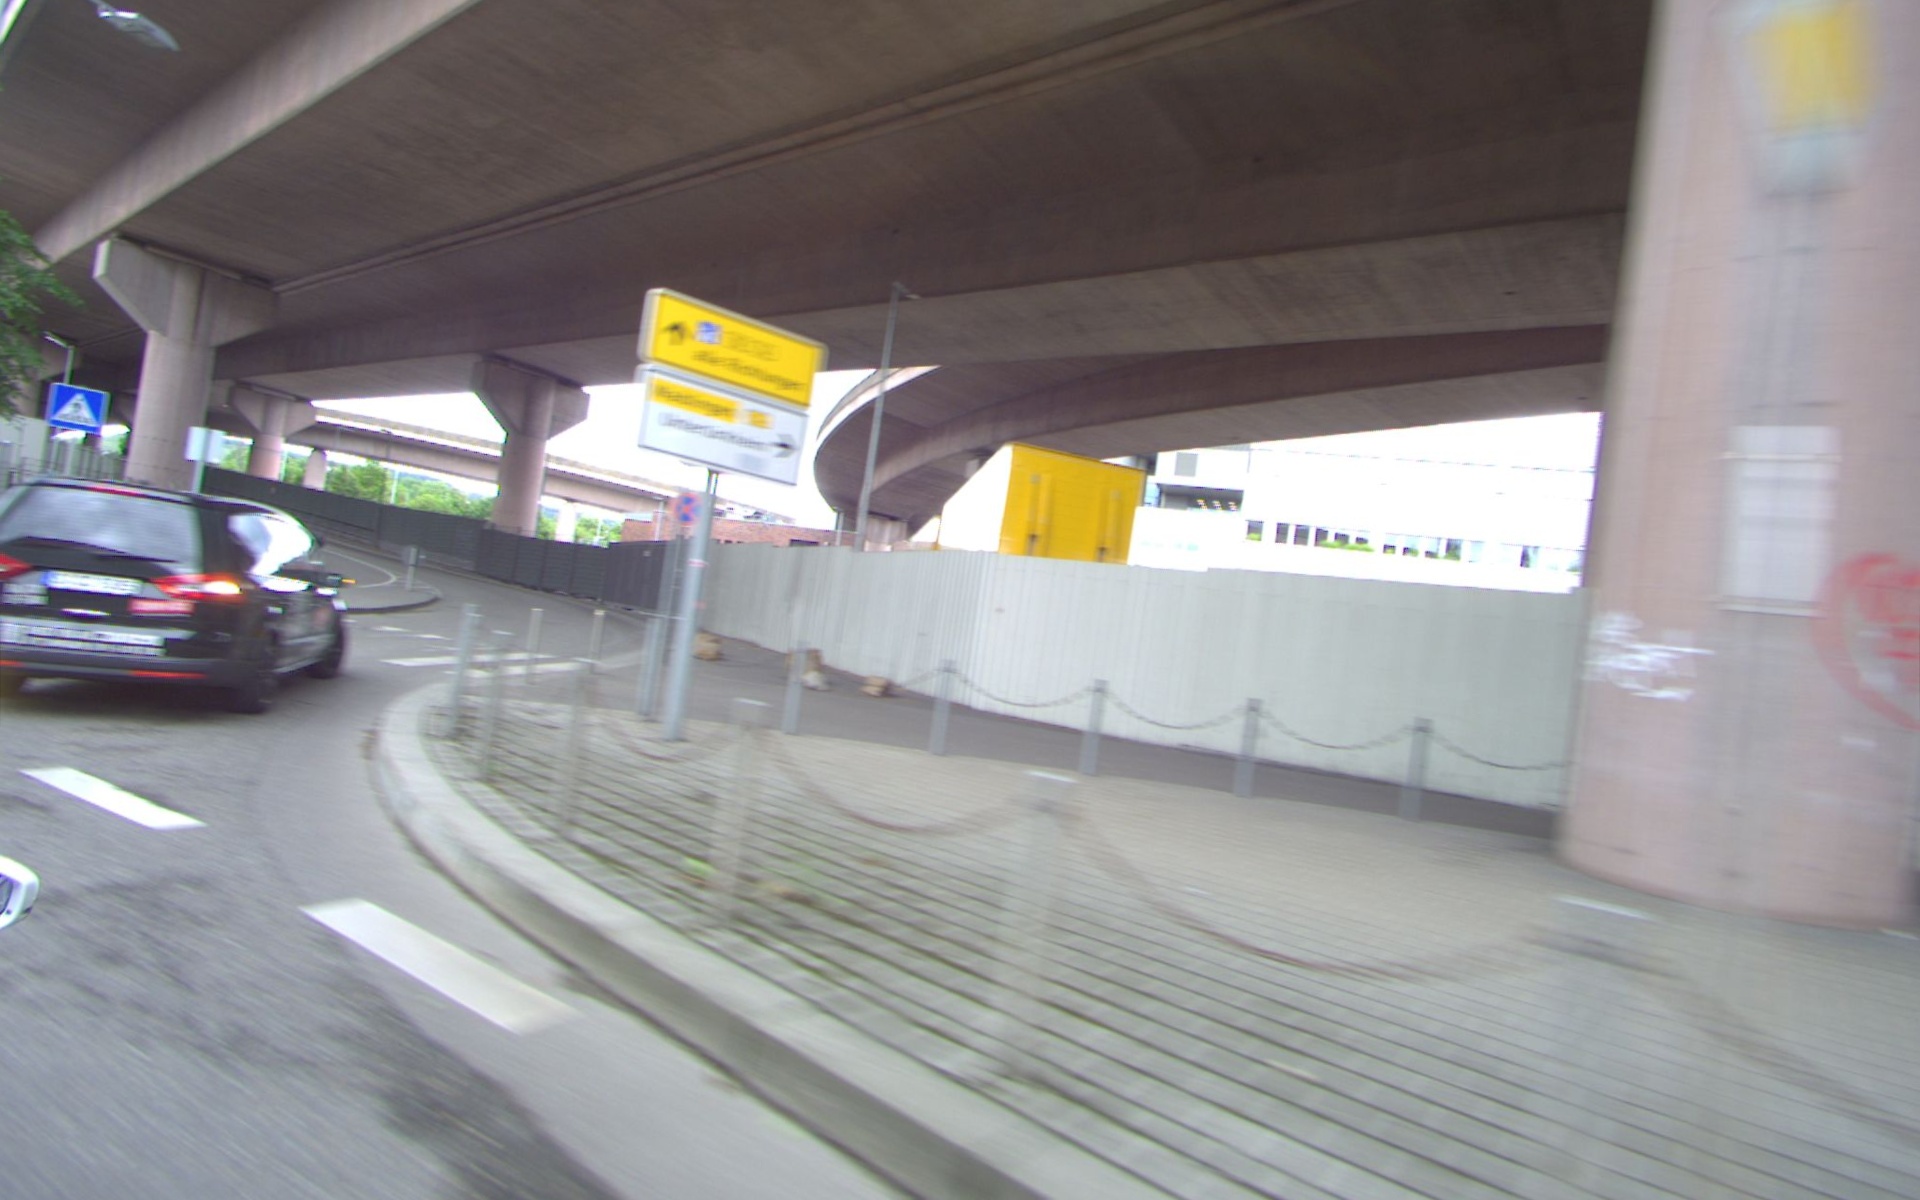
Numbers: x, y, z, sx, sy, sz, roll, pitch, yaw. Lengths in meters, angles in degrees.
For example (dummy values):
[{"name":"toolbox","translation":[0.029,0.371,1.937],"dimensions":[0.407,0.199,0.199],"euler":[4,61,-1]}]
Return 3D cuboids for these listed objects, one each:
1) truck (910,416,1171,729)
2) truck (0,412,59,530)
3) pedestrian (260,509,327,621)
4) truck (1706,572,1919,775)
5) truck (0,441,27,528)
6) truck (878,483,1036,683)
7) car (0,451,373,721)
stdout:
[{"name":"truck","translation":[1.205,-0.333,21.616],"dimensions":[3.095,4.973,8.711],"euler":[8,-2,-8]},{"name":"truck","translation":[-40.993,-5.659,40.859],"dimensions":[7.900,4.351,3.076],"euler":[9,0,22]},{"name":"pedestrian","translation":[-10.690,-0.557,16.131],"dimensions":[0.548,1.697,0.537],"euler":[8,1,27]},{"name":"truck","translation":[15.742,1.216,14.128],"dimensions":[3.092,2.981,8.705],"euler":[5,0,-8]},{"name":"truck","translation":[-36.602,-4.541,35.114],"dimensions":[6.435,2.933,2.926],"euler":[9,0,18]},{"name":"truck","translation":[-0.417,-0.329,31.353],"dimensions":[3.095,4.958,8.711],"euler":[8,-2,-8]},{"name":"car","translation":[-6.892,-0.133,8.987],"dimensions":[1.973,1.699,4.540],"euler":[7,-1,-21]}]
